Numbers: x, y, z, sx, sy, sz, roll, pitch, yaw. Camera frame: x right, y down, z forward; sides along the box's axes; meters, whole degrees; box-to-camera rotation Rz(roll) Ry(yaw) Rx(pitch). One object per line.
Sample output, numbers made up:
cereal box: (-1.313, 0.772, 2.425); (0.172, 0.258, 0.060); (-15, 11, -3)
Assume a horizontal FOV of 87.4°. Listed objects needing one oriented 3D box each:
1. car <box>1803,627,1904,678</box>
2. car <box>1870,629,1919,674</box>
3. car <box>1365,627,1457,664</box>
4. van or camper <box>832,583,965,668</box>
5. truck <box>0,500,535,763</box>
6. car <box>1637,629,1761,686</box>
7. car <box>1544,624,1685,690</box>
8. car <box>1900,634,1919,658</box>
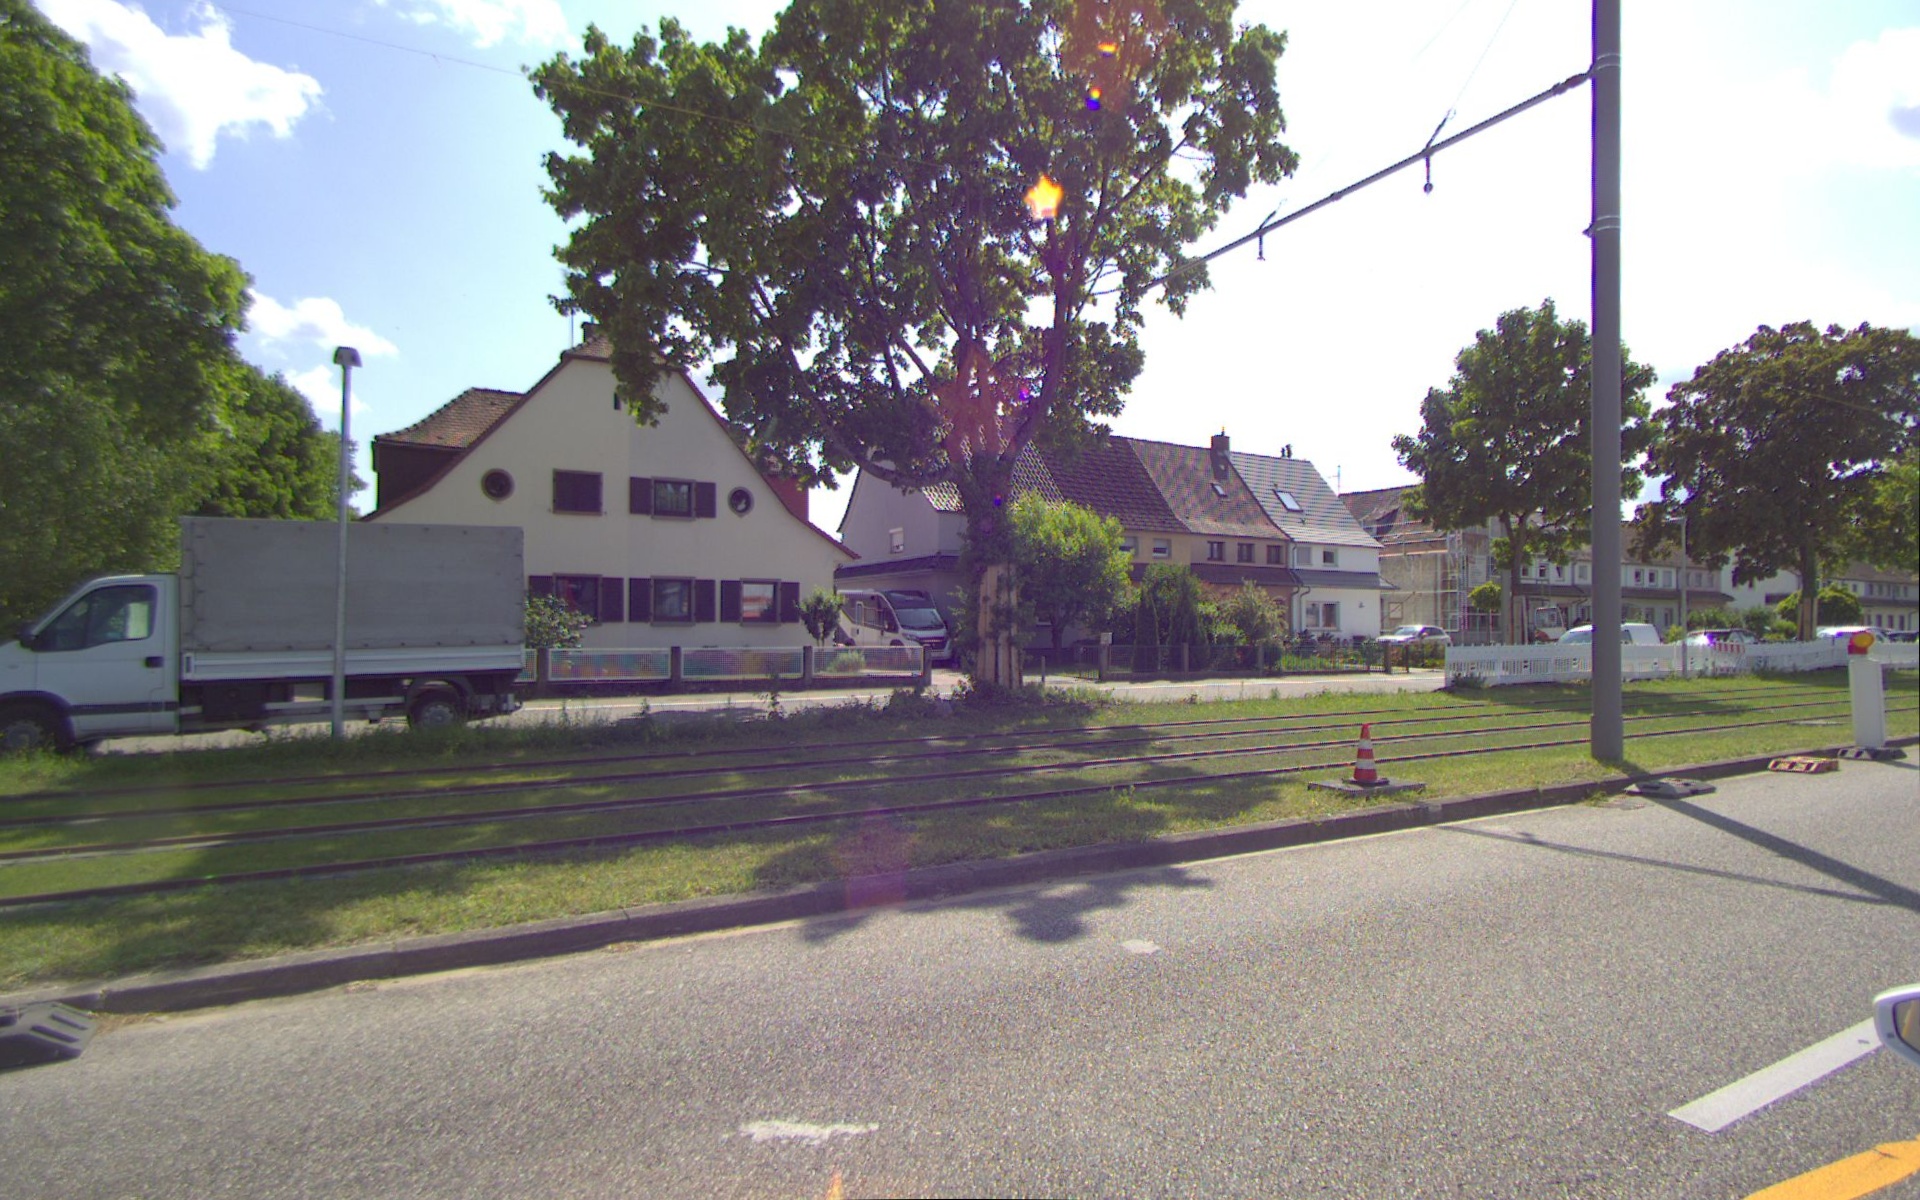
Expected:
car: (35.289, 2.033, 39.648); (4.079, 1.892, 1.768); (1, -2, -30)
car: (40.650, 2.167, 42.694); (4.079, 1.829, 1.768); (1, -2, -30)
car: (19.994, 1.993, 44.493); (3.952, 1.539, 1.768); (1, -2, -30)
van or camper: (-2.373, 0.939, 36.599); (2.269, 2.801, 6.051); (1, -2, -32)
truck: (-8.830, 0.403, 12.968); (5.906, 2.817, 2.255); (1, -2, -31)
car: (24.294, 1.839, 32.999); (4.177, 1.797, 1.768); (1, -2, -30)
car: (19.576, 1.645, 30.020); (4.312, 1.845, 1.768); (1, -2, -30)
car: (70.035, 3.308, 72.744); (4.079, 1.745, 1.768); (1, -2, -30)
